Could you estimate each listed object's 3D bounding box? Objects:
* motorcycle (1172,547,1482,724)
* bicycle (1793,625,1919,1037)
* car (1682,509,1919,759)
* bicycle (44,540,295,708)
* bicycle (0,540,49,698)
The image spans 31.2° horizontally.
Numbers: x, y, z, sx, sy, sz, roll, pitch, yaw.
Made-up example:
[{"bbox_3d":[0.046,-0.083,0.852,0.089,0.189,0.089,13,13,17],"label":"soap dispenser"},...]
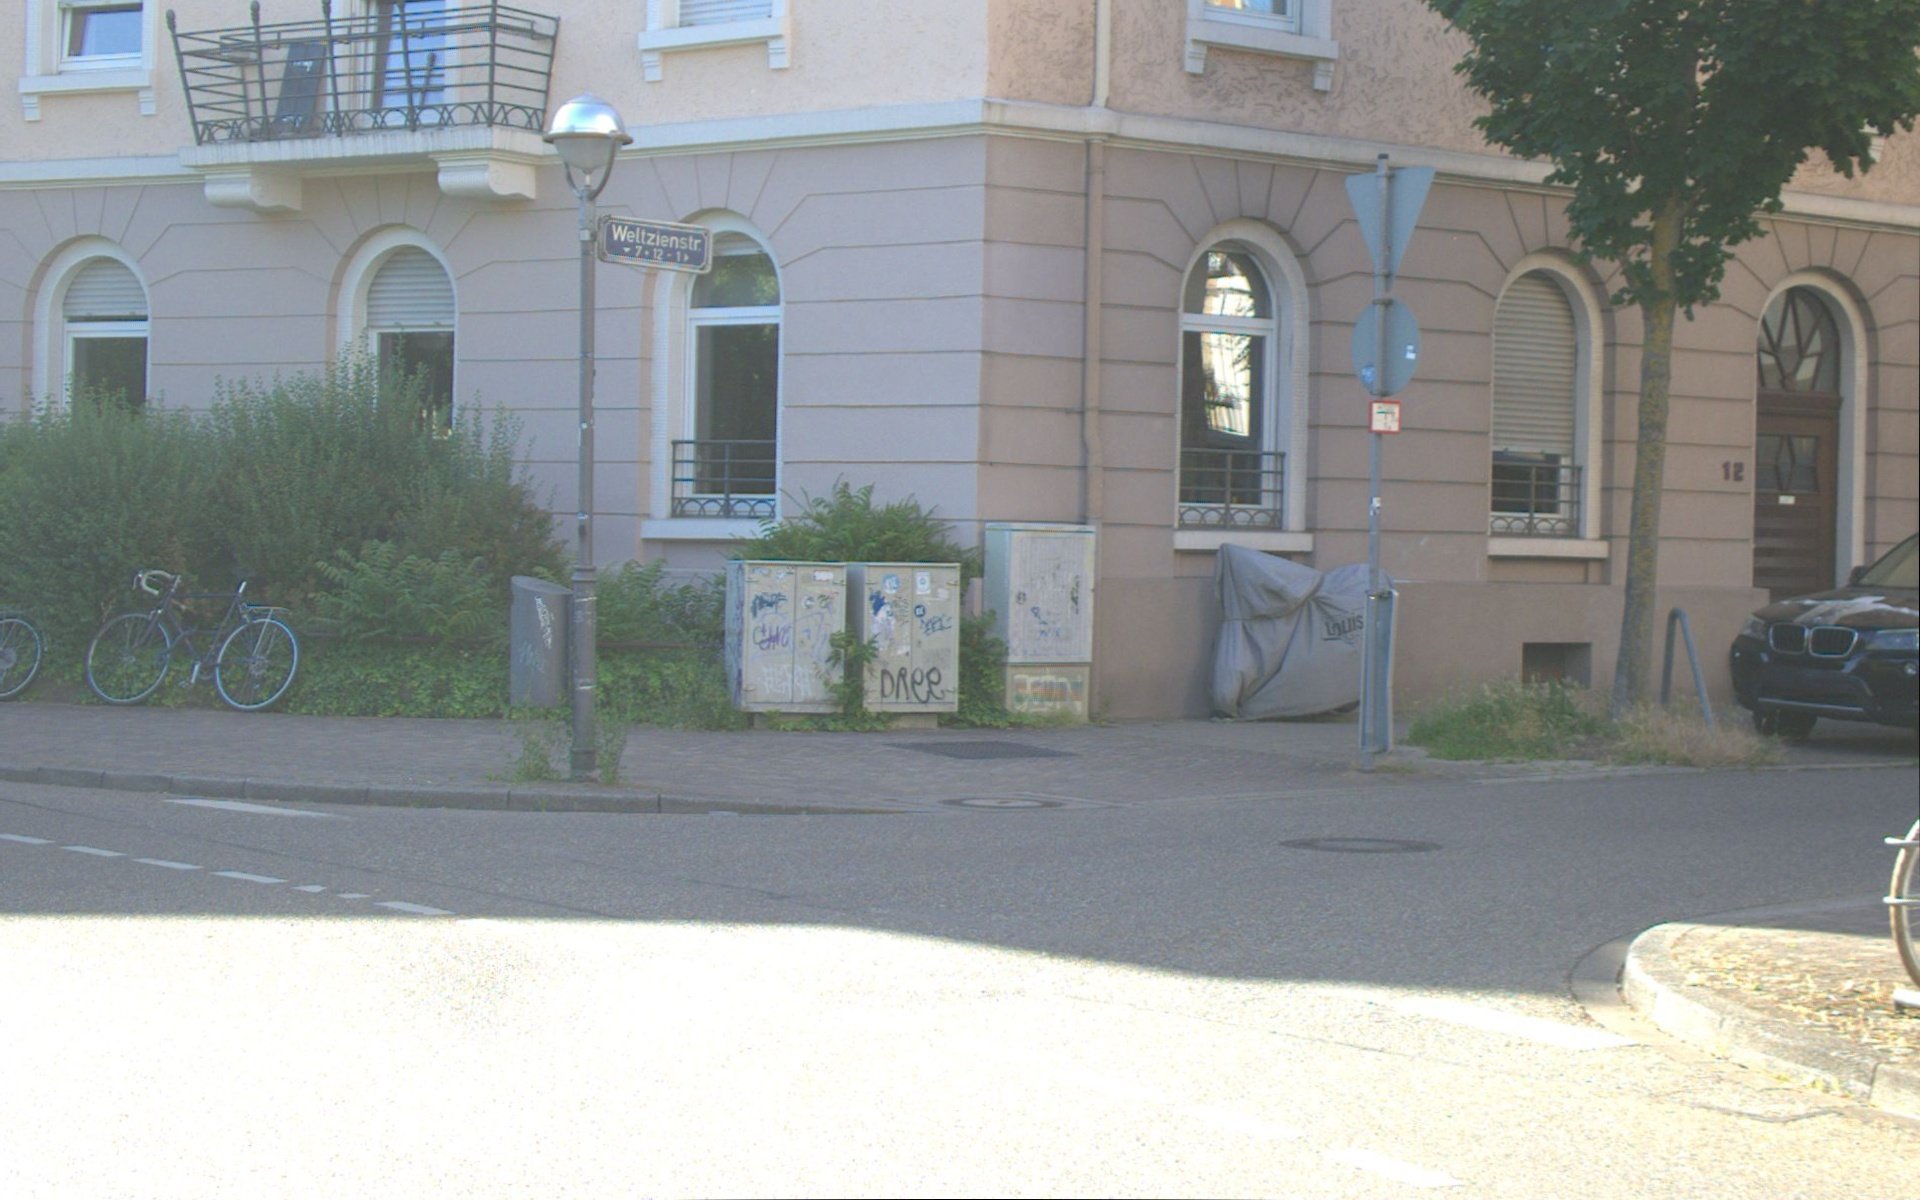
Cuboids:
[{"bbox_3d":[2.717,0.245,25.346,2.146,1.216,0.943,0,3,-35],"label":"motorcycle"},{"bbox_3d":[3.432,0.655,9.998,1.861,1.126,0.700,1,0,-19],"label":"bicycle"},{"bbox_3d":[7.385,0.221,24.789,4.334,1.636,1.908,1,1,-39],"label":"car"},{"bbox_3d":[-5.437,0.154,23.639,1.683,1.084,0.502,1,3,21],"label":"bicycle"},{"bbox_3d":[-7.365,0.115,24.559,1.683,1.084,0.502,1,3,21],"label":"bicycle"}]
